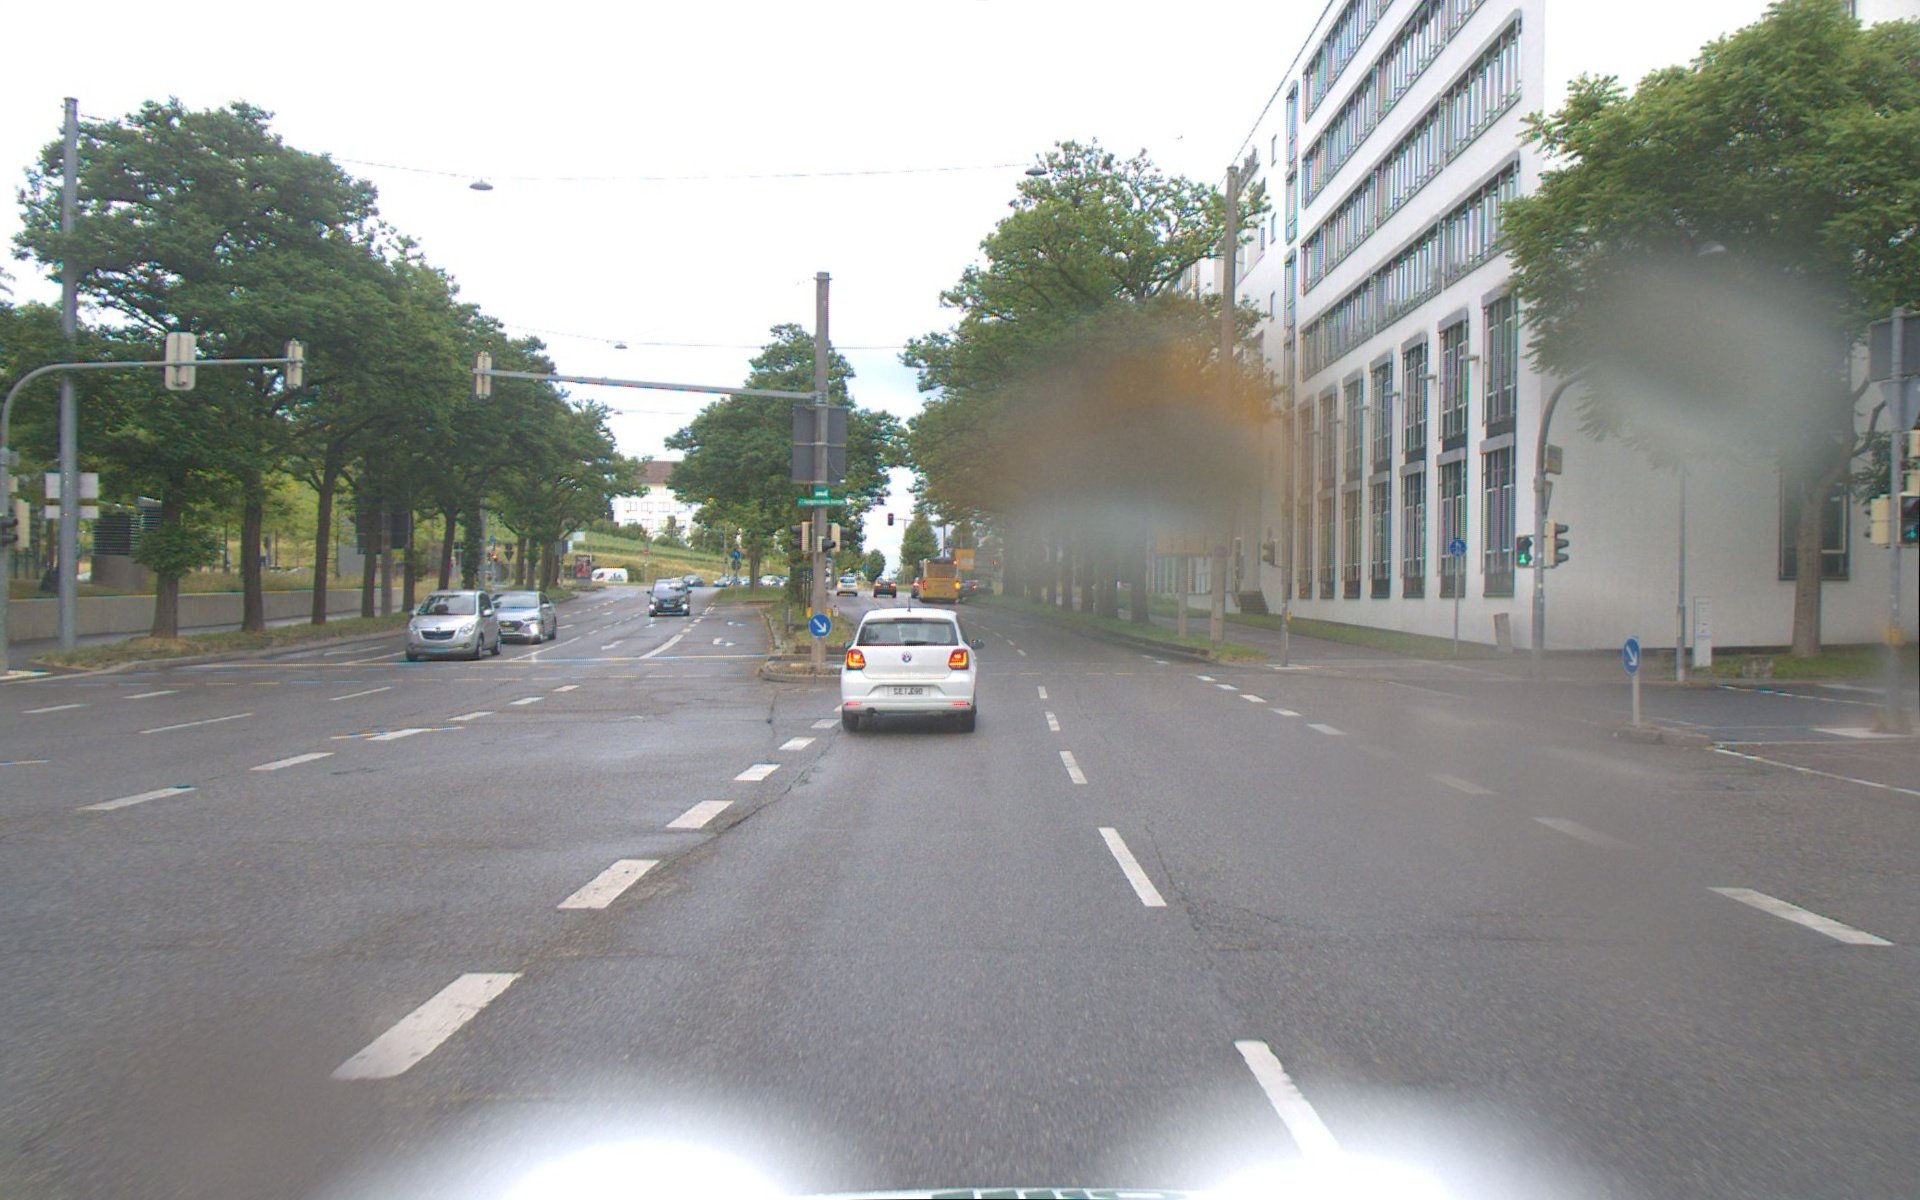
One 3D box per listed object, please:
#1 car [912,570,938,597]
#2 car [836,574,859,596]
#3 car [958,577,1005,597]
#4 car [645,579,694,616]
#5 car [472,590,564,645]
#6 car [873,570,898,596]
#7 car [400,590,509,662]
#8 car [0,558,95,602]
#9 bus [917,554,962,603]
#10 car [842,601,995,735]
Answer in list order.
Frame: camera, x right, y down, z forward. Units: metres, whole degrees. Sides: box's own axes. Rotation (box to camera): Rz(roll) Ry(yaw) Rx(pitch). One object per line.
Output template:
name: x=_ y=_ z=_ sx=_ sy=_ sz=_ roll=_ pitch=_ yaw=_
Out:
car: x=-2.830 y=-1.297 z=132.324 sx=1.954 sy=2.049 sz=3.997 roll=0 pitch=0 yaw=-3
car: x=-9.048 y=-1.193 z=132.745 sx=1.759 sy=1.772 sz=3.997 roll=0 pitch=0 yaw=-4
car: x=1.696 y=-1.005 z=131.402 sx=1.670 sy=1.542 sz=3.805 roll=0 pitch=0 yaw=41
car: x=-13.636 y=-0.150 z=77.924 sx=1.956 sy=1.644 sz=5.113 roll=-1 pitch=1 yaw=-7
car: x=-12.626 y=0.465 z=47.491 sx=1.779 sy=1.436 sz=4.650 roll=-1 pitch=1 yaw=-6
car: x=-5.917 y=-1.323 z=131.327 sx=1.954 sy=2.049 sz=3.997 roll=0 pitch=0 yaw=-3
car: x=-11.747 y=0.562 z=38.652 sx=1.716 sy=1.547 sz=3.812 roll=-1 pitch=1 yaw=-6
car: x=-44.243 y=-0.976 z=80.176 sx=3.933 sy=2.049 sz=1.986 roll=0 pitch=1 yaw=-23
bus: x=-1.533 y=-1.563 z=118.933 sx=2.772 sy=3.323 sz=9.994 roll=1 pitch=1 yaw=-3
car: x=-0.556 y=0.798 z=21.274 sx=1.758 sy=1.528 sz=3.998 roll=1 pitch=0 yaw=-2
